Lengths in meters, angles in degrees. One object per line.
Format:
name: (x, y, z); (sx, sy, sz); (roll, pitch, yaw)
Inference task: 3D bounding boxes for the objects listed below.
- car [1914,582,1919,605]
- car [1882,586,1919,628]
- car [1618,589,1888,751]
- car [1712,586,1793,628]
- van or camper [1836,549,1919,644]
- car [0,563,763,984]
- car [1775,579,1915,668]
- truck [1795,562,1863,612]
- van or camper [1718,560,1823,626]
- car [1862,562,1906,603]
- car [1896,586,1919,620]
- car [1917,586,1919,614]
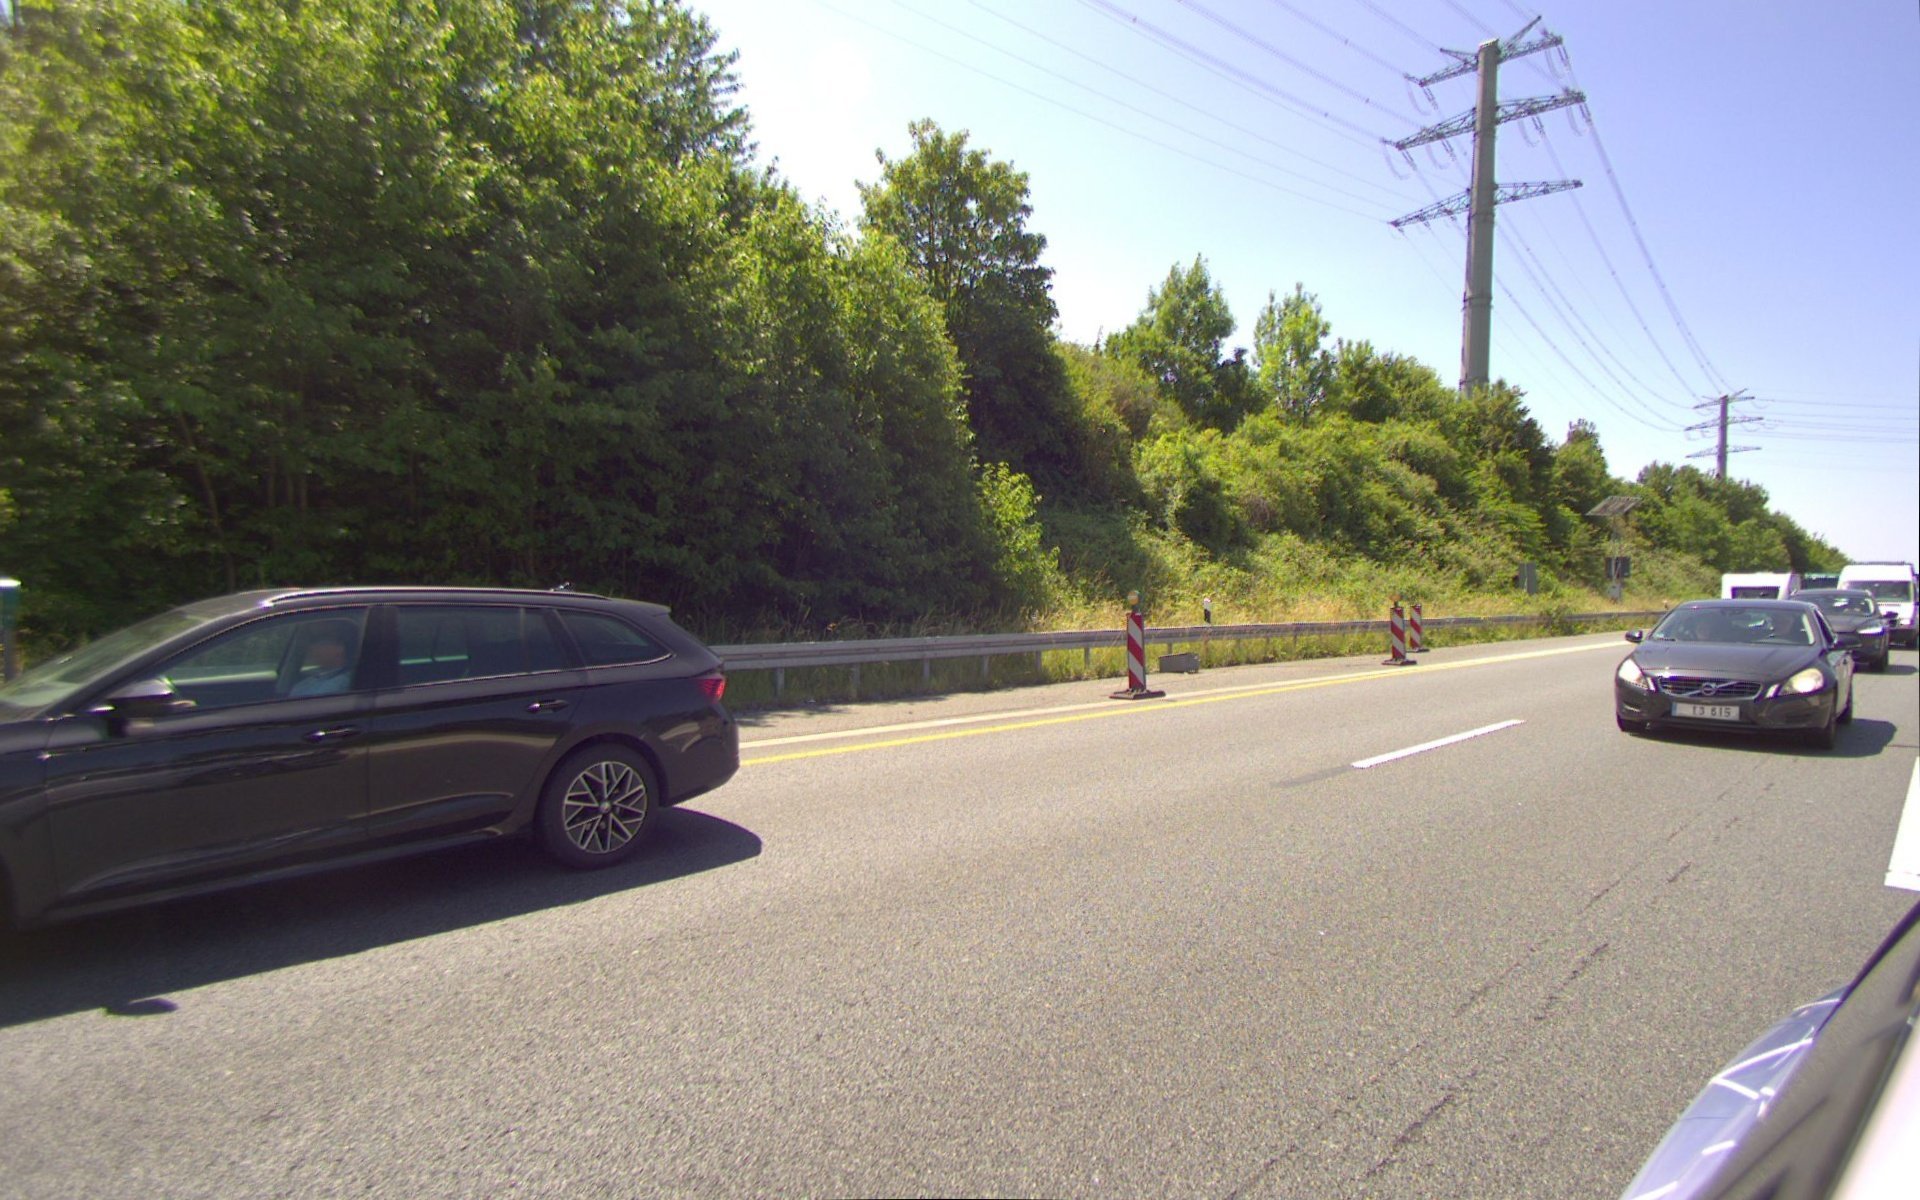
car: (74.310, -0.498, 77.511); (1.741, 1.689, 4.090); (1, 1, 45)
car: (39.648, 0.258, 42.069); (1.741, 1.689, 4.090); (1, 1, 45)
car: (8.836, 0.613, 11.151); (3.933, 1.459, 1.796); (0, 1, -43)
car: (30.284, 0.224, 38.627); (4.140, 1.425, 1.798); (0, 3, -44)
van or camper: (28.354, -0.137, 30.718); (5.533, 2.652, 1.997); (0, 2, -43)
car: (-3.326, 0.611, 5.005); (4.392, 1.507, 1.780); (-1, 0, -45)
car: (18.594, 0.420, 21.204); (4.085, 1.689, 1.743); (0, 1, -42)
truck: (58.375, -0.820, 67.902); (7.516, 3.181, 2.428); (0, -1, -42)
van or camper: (34.646, -0.312, 43.113); (8.277, 2.596, 2.428); (0, 1, -44)
car: (92.770, -1.732, 101.556); (10.100, 3.849, 2.393); (-1, 0, -43)
car: (48.334, 0.136, 50.842); (1.741, 1.689, 4.090); (1, 1, 45)
car: (58.868, 0.010, 60.877); (1.741, 1.689, 4.090); (1, 1, 45)
